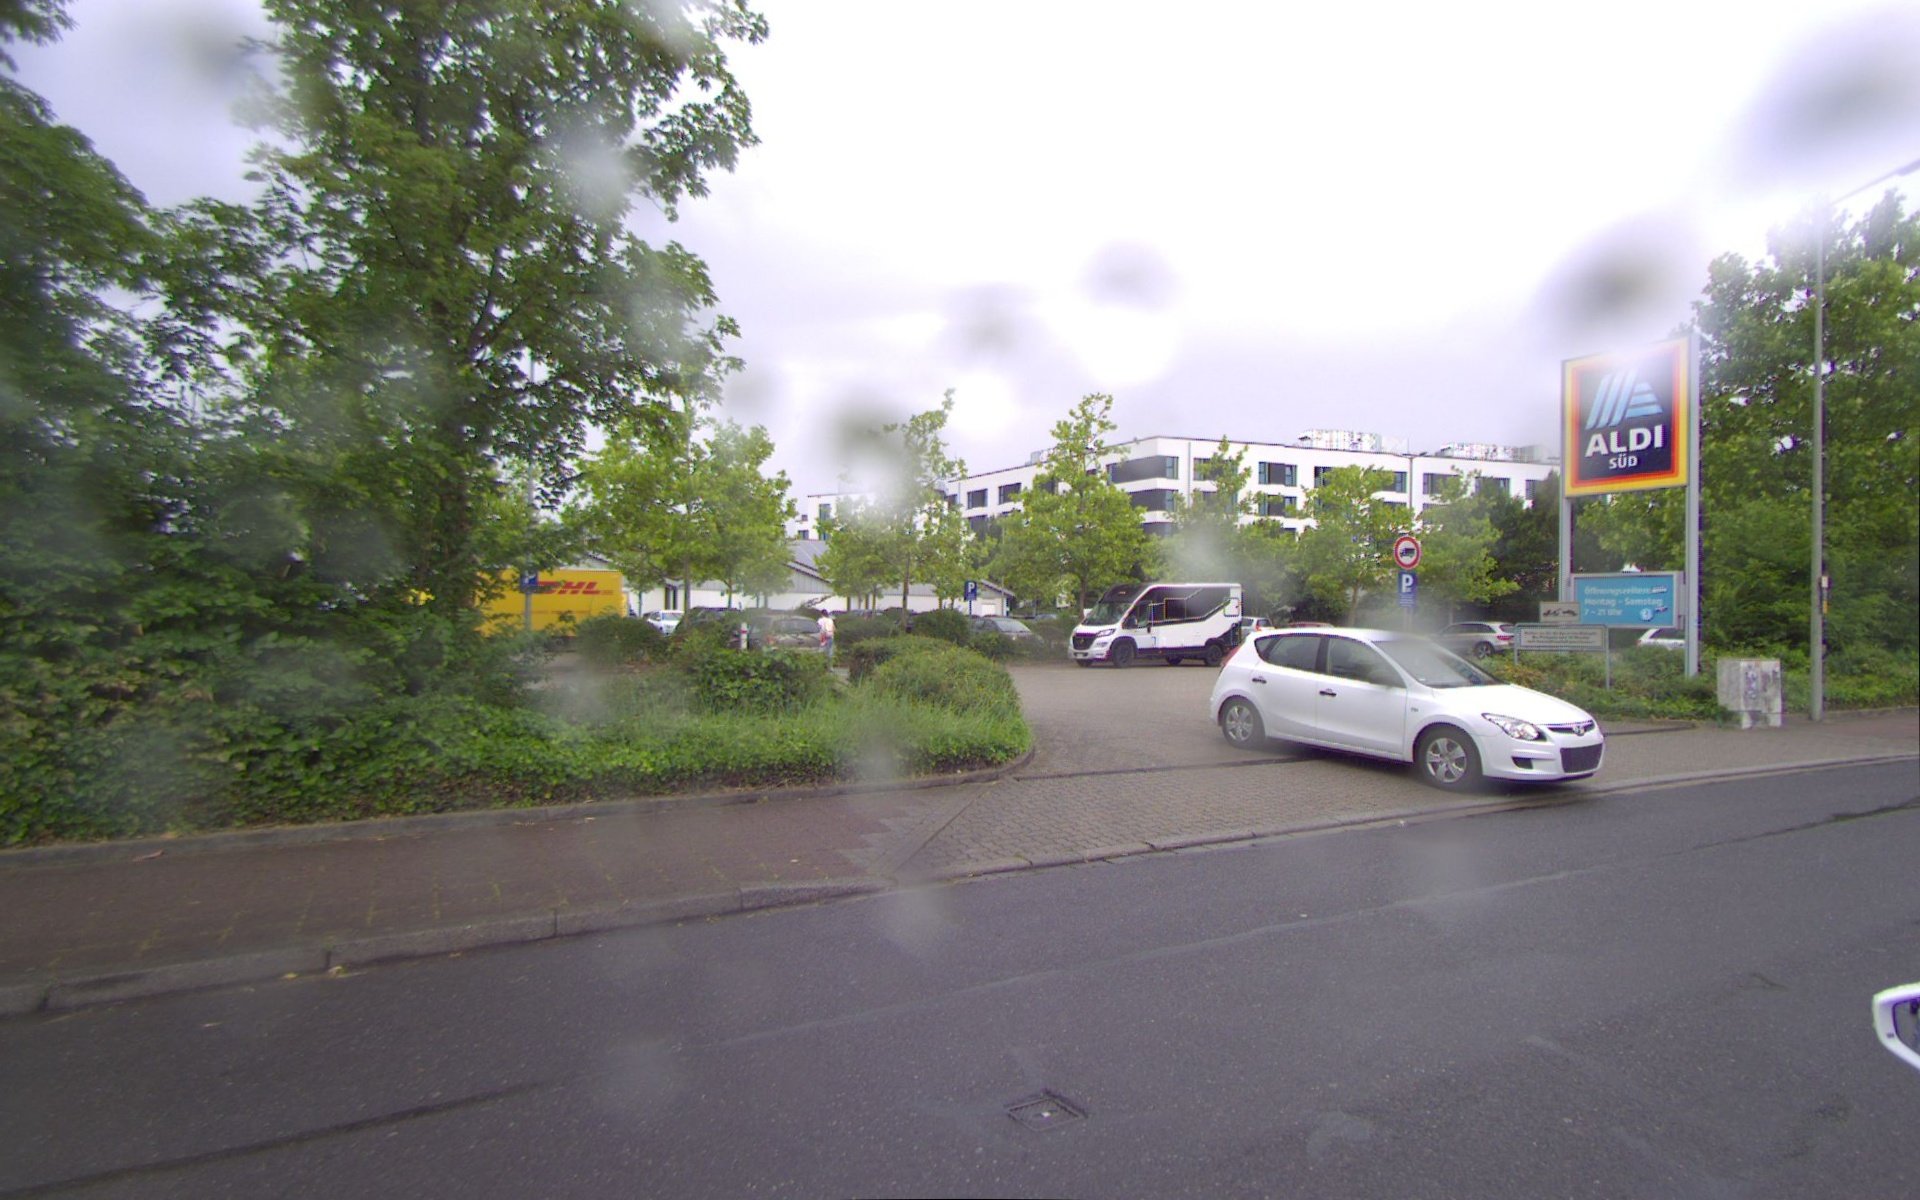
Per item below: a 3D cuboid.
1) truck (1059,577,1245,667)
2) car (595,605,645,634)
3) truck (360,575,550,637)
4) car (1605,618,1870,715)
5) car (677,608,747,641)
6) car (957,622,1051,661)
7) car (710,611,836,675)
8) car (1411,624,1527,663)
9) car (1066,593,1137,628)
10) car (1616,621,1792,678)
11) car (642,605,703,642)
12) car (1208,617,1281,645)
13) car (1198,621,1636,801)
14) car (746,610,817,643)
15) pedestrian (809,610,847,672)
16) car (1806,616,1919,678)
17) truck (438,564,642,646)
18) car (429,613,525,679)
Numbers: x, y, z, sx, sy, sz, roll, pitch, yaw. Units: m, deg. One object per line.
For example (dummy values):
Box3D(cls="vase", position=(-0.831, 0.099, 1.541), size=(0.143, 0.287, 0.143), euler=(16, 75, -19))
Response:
Box3D(cls="truck", position=(6.335, 0.737, 32.772), size=(6.326, 2.692, 1.983), euler=(1, -1, -32))
Box3D(cls="car", position=(-18.979, 1.070, 55.929), size=(1.976, 1.542, 3.970), euler=(1, -1, -29))
Box3D(cls="truck", position=(-18.545, 0.285, 37.059), size=(6.070, 2.122, 1.981), euler=(1, -1, -34))
Box3D(cls="car", position=(14.493, 1.166, 18.915), size=(1.692, 1.479, 3.553), euler=(1, 1, -29))
Box3D(cls="car", position=(-10.787, 1.038, 43.490), size=(1.835, 1.352, 3.966), euler=(1, -1, -31))
Box3D(cls="car", position=(1.577, 1.526, 37.470), size=(1.736, 1.320, 3.970), euler=(1, -1, -29))
Box3D(cls="car", position=(-4.842, 1.044, 25.561), size=(1.694, 1.479, 4.165), euler=(1, -1, -33))
Box3D(cls="car", position=(21.539, 1.826, 42.646), size=(1.976, 1.519, 3.970), euler=(1, -1, -29))
Box3D(cls="car", position=(8.801, 0.660, 62.418), size=(3.954, 2.040, 1.984), euler=(2, 0, -31))
Box3D(cls="car", position=(22.898, 1.473, 31.061), size=(1.888, 1.561, 3.968), euler=(1, -1, -30))
Box3D(cls="car", position=(-13.682, 1.092, 47.692), size=(1.835, 1.692, 3.966), euler=(1, -1, -31))
Box3D(cls="car", position=(16.822, 1.801, 59.516), size=(1.976, 1.549, 3.970), euler=(1, -1, -29))
Box3D(cls="car", position=(4.784, 1.041, 11.129), size=(1.694, 1.479, 4.165), euler=(1, 0, -33))
Box3D(cls="car", position=(-7.992, 1.158, 44.816), size=(1.976, 1.363, 3.970), euler=(1, -1, -29))
Box3D(cls="pedestrian", position=(-3.597, 1.103, 27.409), size=(0.761, 1.656, 0.771), euler=(1, -1, -33))
Box3D(cls="car", position=(25.120, 1.241, 26.460), size=(1.888, 1.561, 3.968), euler=(1, -1, -30))
Box3D(cls="truck", position=(-14.461, 0.235, 34.782), size=(6.320, 2.636, 1.984), euler=(1, -1, -30))
Box3D(cls="car", position=(-11.971, 1.077, 24.834), size=(1.975, 1.439, 3.972), euler=(1, -1, -27))
